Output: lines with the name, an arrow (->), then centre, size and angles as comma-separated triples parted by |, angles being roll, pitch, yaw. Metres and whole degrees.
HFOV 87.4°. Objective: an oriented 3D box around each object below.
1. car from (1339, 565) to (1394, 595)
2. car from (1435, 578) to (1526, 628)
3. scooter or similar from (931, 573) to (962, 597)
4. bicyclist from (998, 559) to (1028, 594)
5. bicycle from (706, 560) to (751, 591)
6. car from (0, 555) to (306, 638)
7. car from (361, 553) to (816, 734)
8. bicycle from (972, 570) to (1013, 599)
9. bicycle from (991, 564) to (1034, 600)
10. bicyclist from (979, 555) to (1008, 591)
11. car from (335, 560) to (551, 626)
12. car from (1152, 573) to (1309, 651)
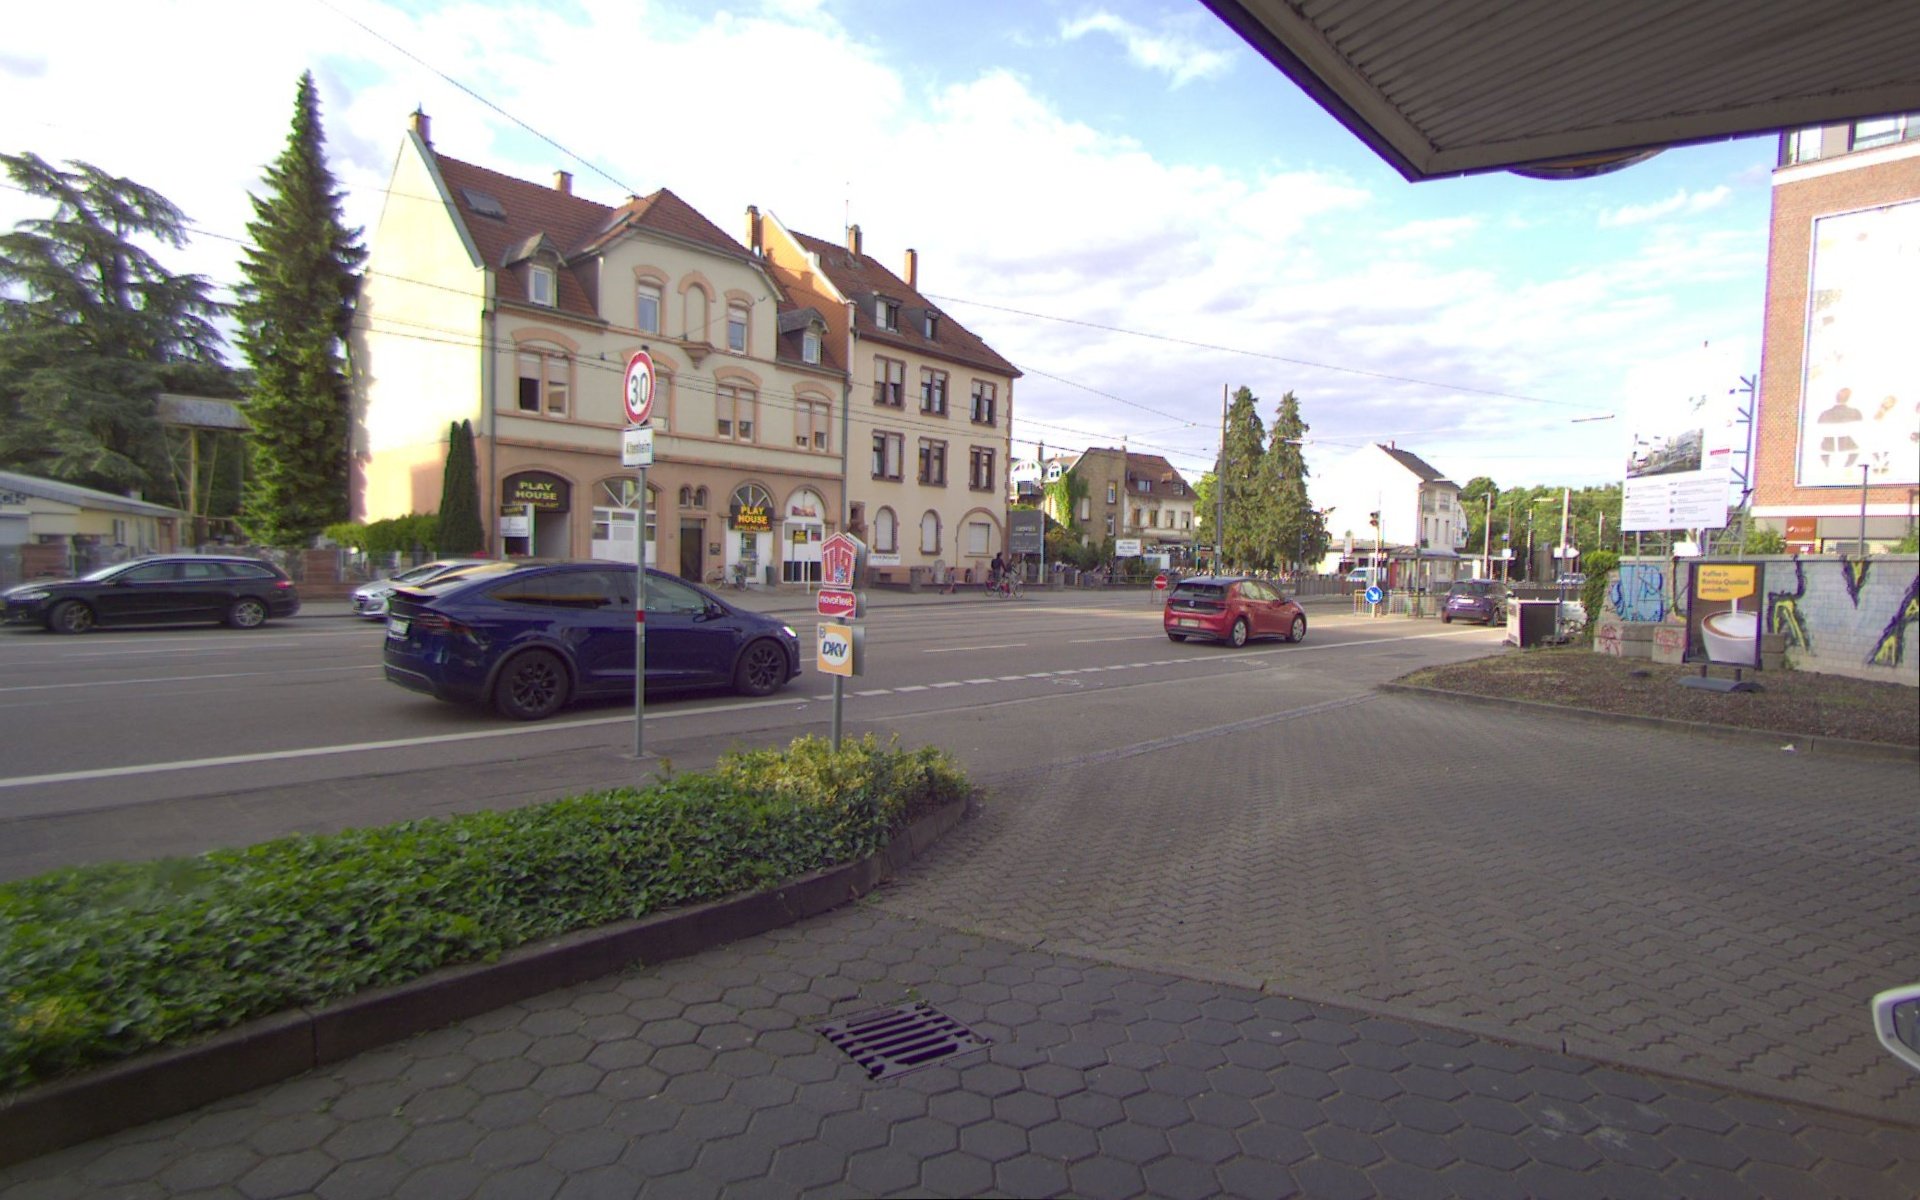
car -> 27.716, -1.341, 68.413 | 1.941, 1.915, 4.385 | 4, 3, 44
car -> 18.064, 0.049, 34.800 | 1.707, 1.564, 3.976 | 5, 4, 43
scooter or similar -> -0.594, -0.687, 45.133 | 0.488, 1.015, 1.592 | 5, 5, 39
bicyclist -> 2.421, -1.048, 45.421 | 0.777, 1.512, 1.090 | 6, 5, 41
bicycle -> -9.140, -0.951, 39.707 | 0.508, 1.189, 1.809 | 4, 2, 40
car -> -16.566, -0.144, 20.729 | 1.970, 1.516, 4.801 | 3, 3, 40
car -> -4.164, 0.373, 11.972 | 1.744, 1.679, 4.824 | 5, 4, 42
bicycle -> 1.483, -0.712, 45.865 | 0.833, 1.219, 1.897 | 8, 6, 38
bicycle -> 2.383, -0.814, 45.407 | 0.777, 1.512, 1.981 | 6, 5, 40
bicyclist -> 1.530, -1.225, 45.830 | 0.833, 1.579, 0.960 | 8, 6, 39
car -> -12.998, -0.242, 25.462 | 1.970, 1.495, 4.467 | 3, 3, 40
car -> 6.357, 0.230, 23.373 | 1.745, 1.564, 4.106 | 5, 4, 43
